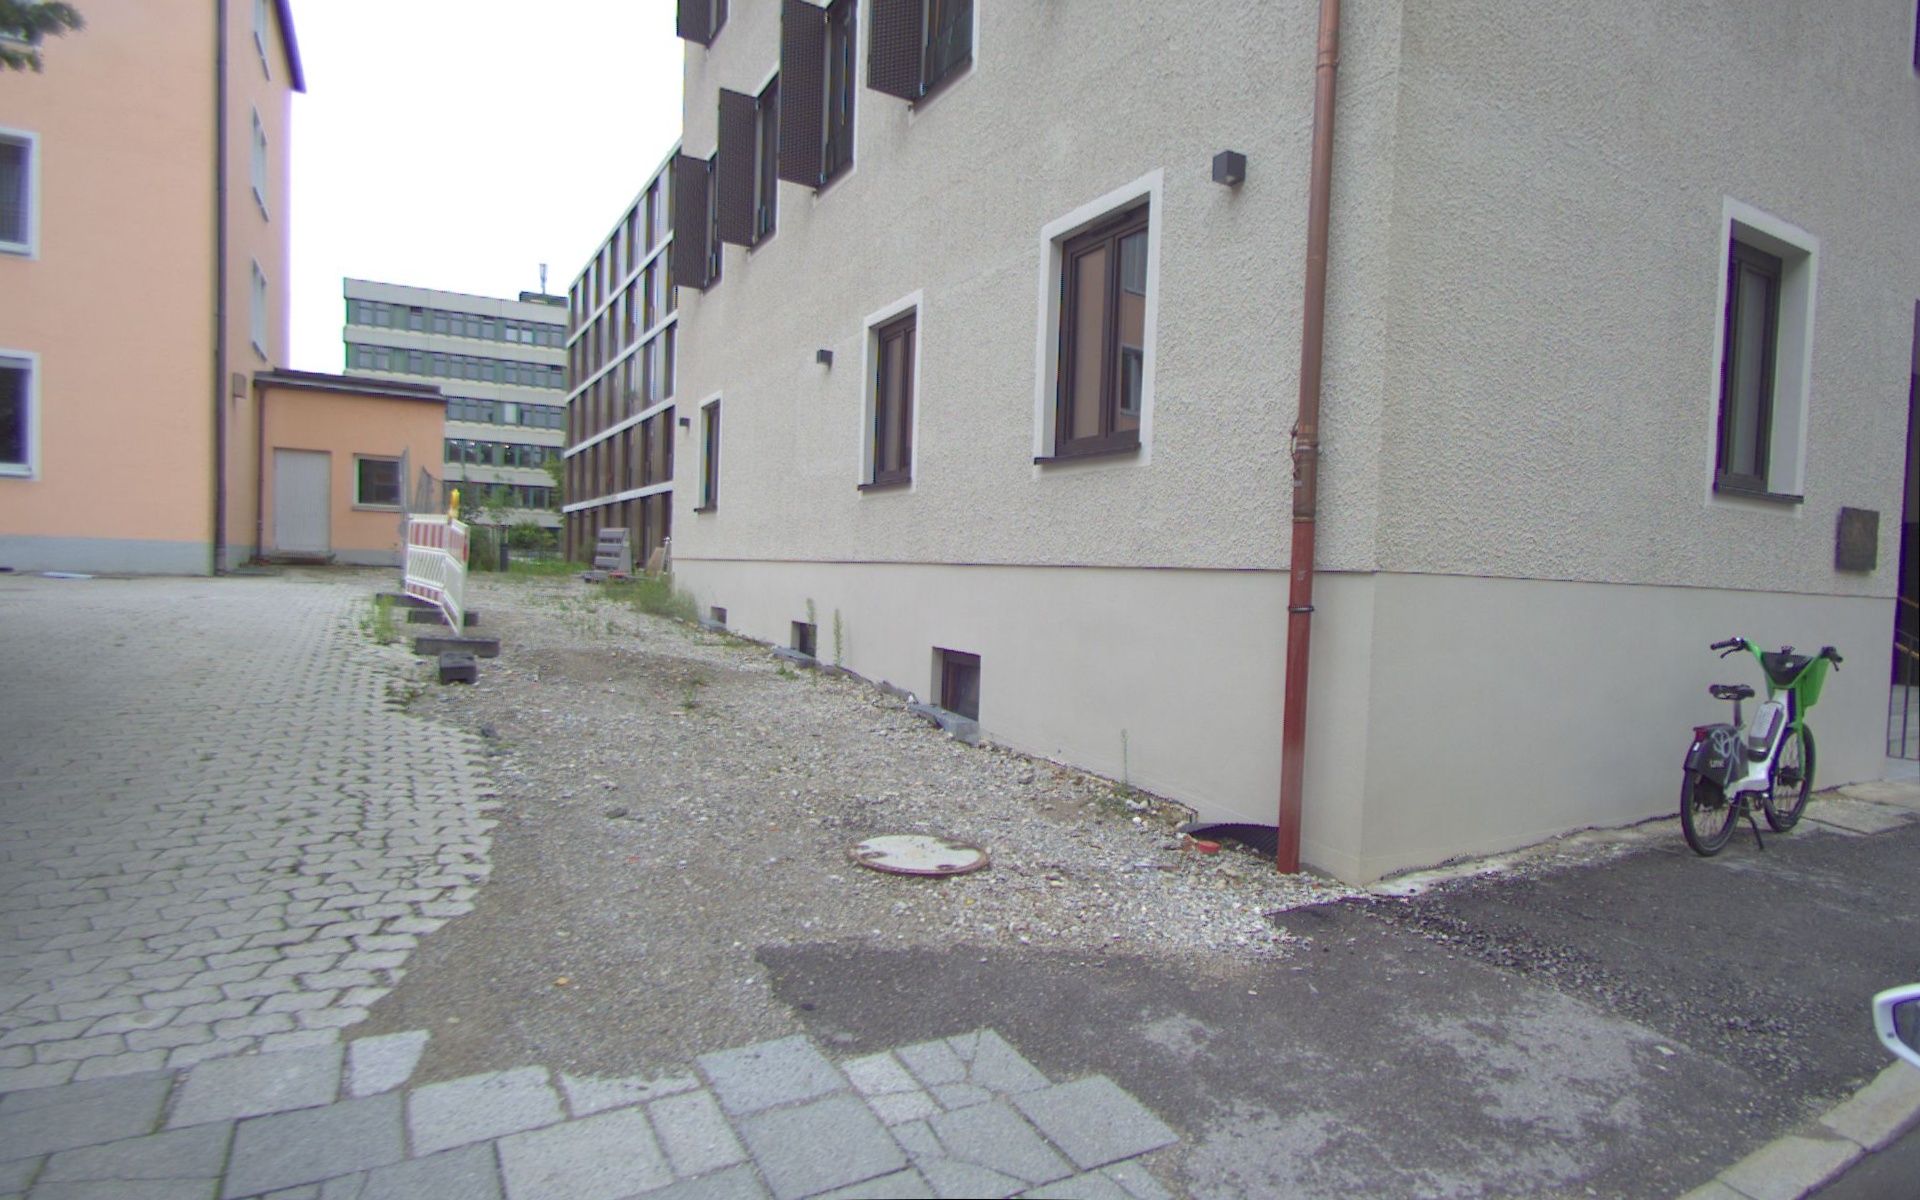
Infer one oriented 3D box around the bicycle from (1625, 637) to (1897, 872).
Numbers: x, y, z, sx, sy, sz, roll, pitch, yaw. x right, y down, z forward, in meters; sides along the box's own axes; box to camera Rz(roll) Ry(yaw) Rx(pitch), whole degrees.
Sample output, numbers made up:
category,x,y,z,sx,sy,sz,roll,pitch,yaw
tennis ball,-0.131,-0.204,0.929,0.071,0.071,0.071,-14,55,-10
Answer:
category,x,y,z,sx,sy,sz,roll,pitch,yaw
bicycle,4.682,0.822,5.831,1.895,1.154,0.535,1,3,-31
